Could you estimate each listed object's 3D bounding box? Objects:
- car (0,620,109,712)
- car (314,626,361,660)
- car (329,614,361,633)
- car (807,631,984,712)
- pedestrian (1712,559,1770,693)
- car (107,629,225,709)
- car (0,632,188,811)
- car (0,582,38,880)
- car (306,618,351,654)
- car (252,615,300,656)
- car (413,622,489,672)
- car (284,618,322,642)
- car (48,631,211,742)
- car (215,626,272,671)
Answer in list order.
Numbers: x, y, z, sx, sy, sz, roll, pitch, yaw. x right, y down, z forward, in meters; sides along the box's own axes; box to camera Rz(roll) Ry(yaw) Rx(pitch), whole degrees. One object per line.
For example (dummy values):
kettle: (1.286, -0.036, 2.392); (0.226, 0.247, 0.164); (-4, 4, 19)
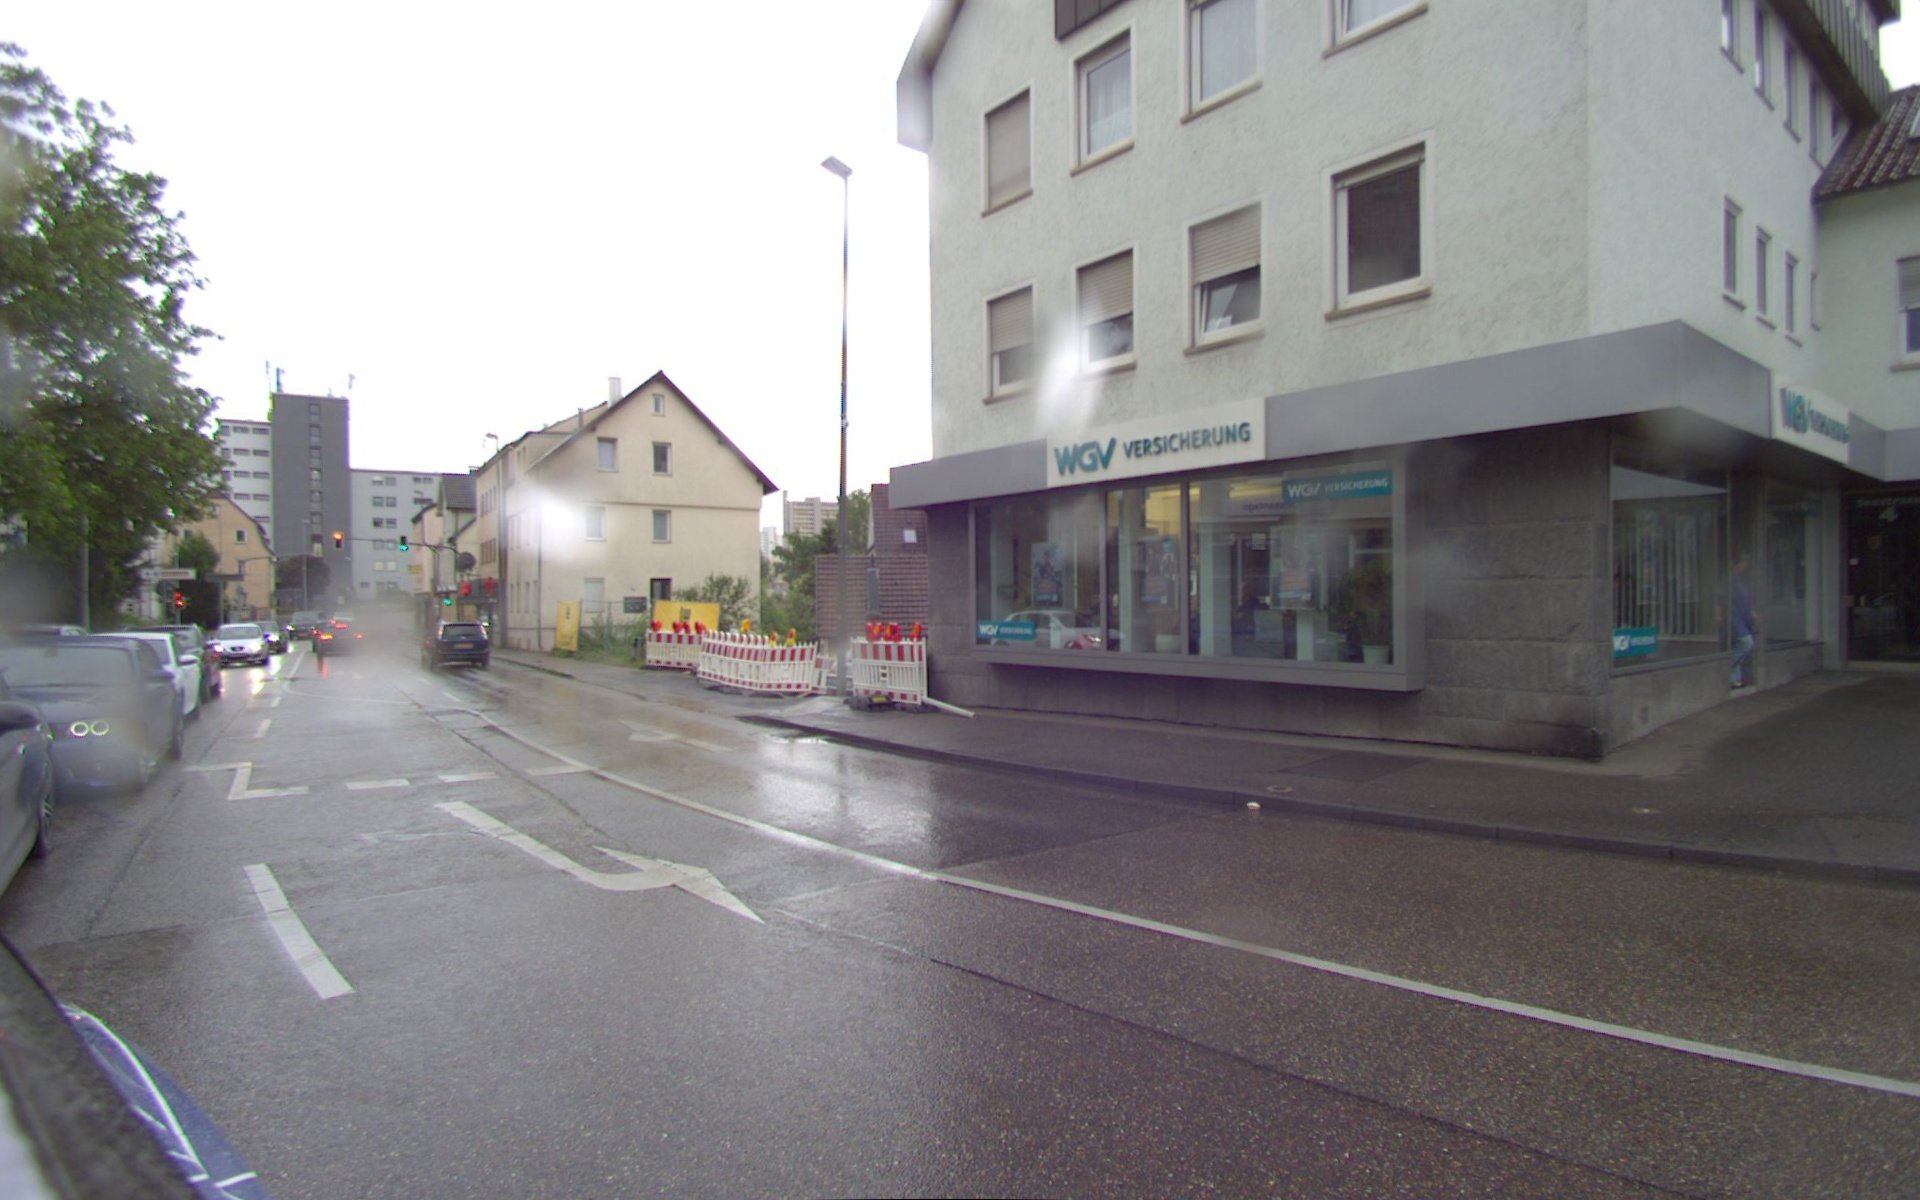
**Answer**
car: (-20.072, 1.347, 21.754); (1.904, 1.794, 4.748); (0, -2, -30)
car: (-28.280, 1.917, 45.935); (1.684, 1.394, 3.679); (-1, -1, -33)
car: (-54.132, 2.061, 89.129); (1.711, 1.577, 3.848); (-1, -1, -20)
car: (-1.334, 1.576, 21.743); (3.456, 1.401, 1.653); (10, -9, -41)
pedestrian: (9.059, 0.291, 11.742); (0.352, 1.519, 0.426); (-2, -1, -41)
car: (-16.871, 1.390, 21.654); (1.659, 1.472, 4.011); (-1, -1, -34)
car: (-8.749, 1.036, 9.870); (1.615, 1.443, 3.816); (1, -2, -33)
car: (-5.690, 0.699, 4.665); (1.792, 1.583, 4.284); (-1, -1, -38)
car: (-32.011, 1.812, 51.256); (1.791, 1.657, 4.287); (-1, -1, -34)
car: (-33.103, 1.678, 49.029); (1.764, 1.866, 3.846); (-1, -1, -32)
car: (-16.855, 1.526, 33.397); (1.708, 1.522, 4.284); (1, -3, -34)
car: (-46.043, 2.095, 70.999); (1.763, 1.577, 3.848); (-1, -1, -26)
car: (-12.763, 1.231, 15.751); (1.660, 1.432, 4.010); (-1, -1, -35)
car: (-26.529, 1.761, 37.537); (1.590, 1.515, 3.727); (-2, 0, -34)
